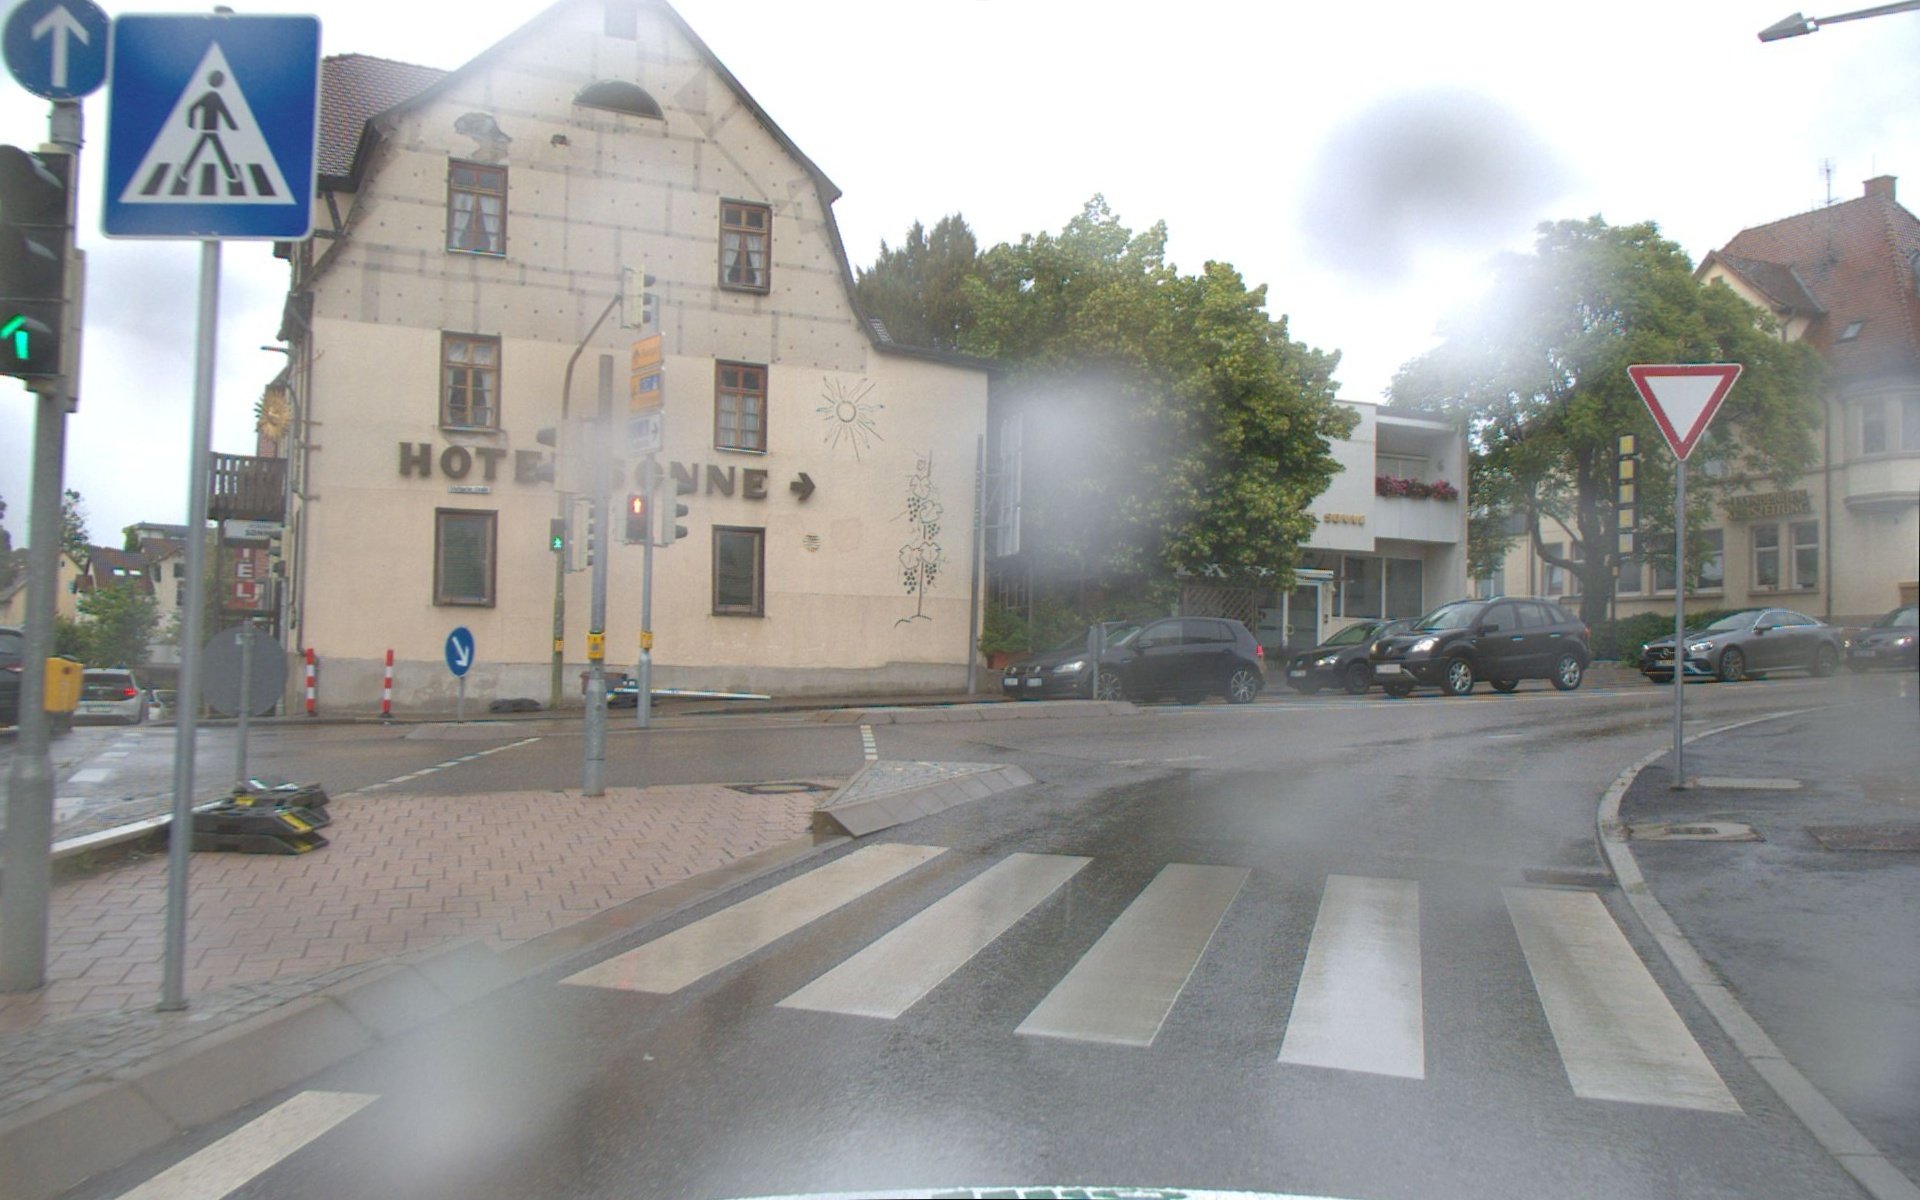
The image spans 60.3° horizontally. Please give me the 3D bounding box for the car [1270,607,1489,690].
[{"bbox_3d":[8.495,0.977,33.458,4.123,1.545,1.763,-1,-3,-27],"label":"car"}]

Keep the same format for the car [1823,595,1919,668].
[{"bbox_3d":[21.030,0.675,36.140,4.123,1.477,1.763,-1,-3,-27],"label":"car"}]

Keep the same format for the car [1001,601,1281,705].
[{"bbox_3d":[2.942,0.853,26.785,4.253,1.531,1.762,0,-3,-29],"label":"car"}]

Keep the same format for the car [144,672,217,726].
[{"bbox_3d":[-26.527,3.339,56.385,1.859,1.493,3.977,0,1,-20],"label":"car"}]

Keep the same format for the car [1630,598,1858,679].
[{"bbox_3d":[15.846,0.776,33.397,4.471,1.477,1.763,-1,-3,-27],"label":"car"}]

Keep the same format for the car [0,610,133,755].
[{"bbox_3d":[-13.033,1.061,22.986,1.913,1.594,4.399,2,2,-16],"label":"car"}]

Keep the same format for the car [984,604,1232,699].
[{"bbox_3d":[2.660,0.921,29.706,4.123,1.545,1.763,-1,-3,-27],"label":"car"}]

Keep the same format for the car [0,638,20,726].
[{"bbox_3d":[-30.861,2.578,50.709,2.551,2.672,6.515,-1,0,-21],"label":"car"}]

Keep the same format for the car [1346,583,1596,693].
[{"bbox_3d":[9.238,0.678,29.844,4.250,1.847,1.763,-1,-3,-27],"label":"car"}]
